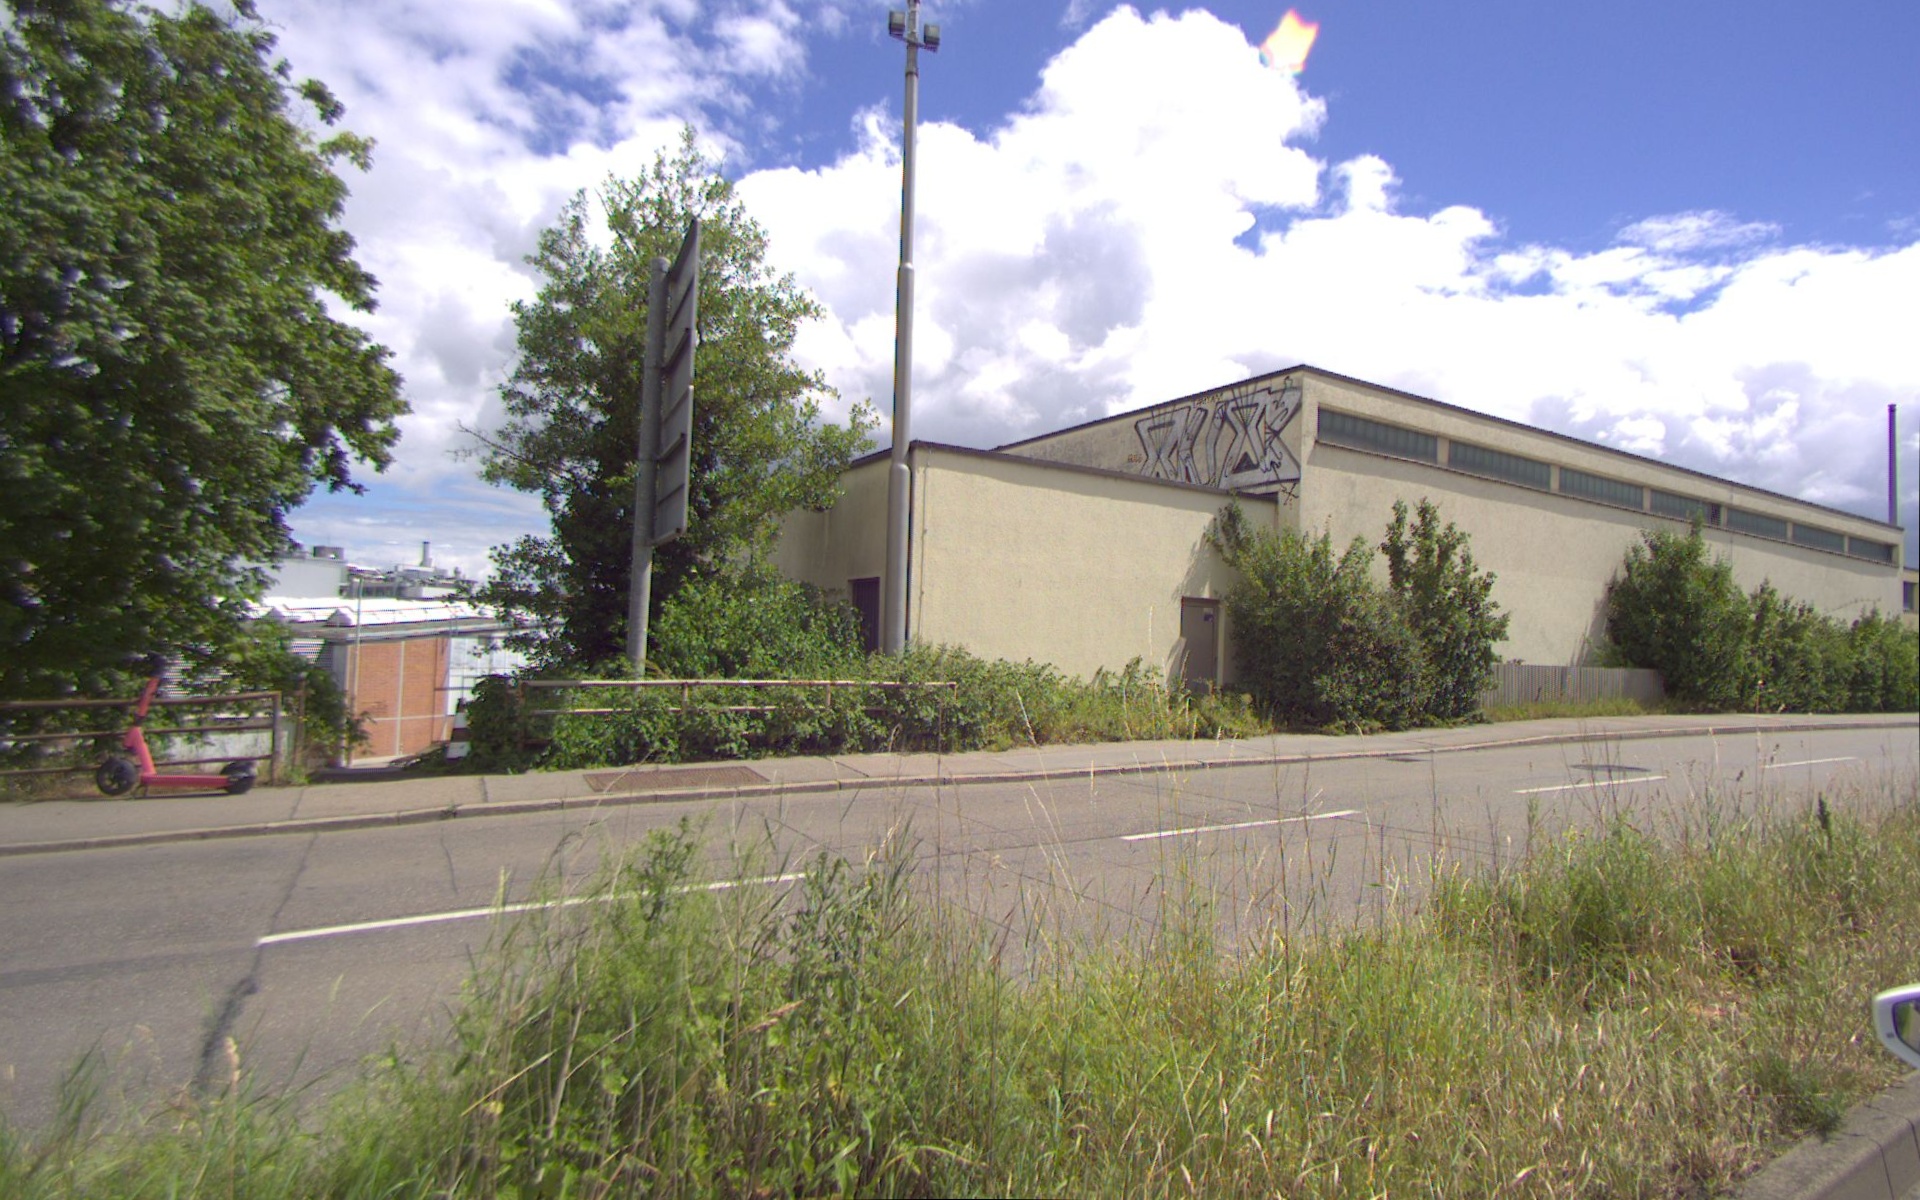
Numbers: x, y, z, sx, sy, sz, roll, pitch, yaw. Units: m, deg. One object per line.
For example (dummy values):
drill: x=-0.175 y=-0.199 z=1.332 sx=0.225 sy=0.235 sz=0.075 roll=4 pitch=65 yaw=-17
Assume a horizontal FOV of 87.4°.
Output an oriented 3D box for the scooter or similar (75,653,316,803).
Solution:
scooter or similar: x=-6.773 y=1.099 z=8.988 sx=1.621 sy=1.232 sz=0.490 roll=1 pitch=-2 yaw=-26
